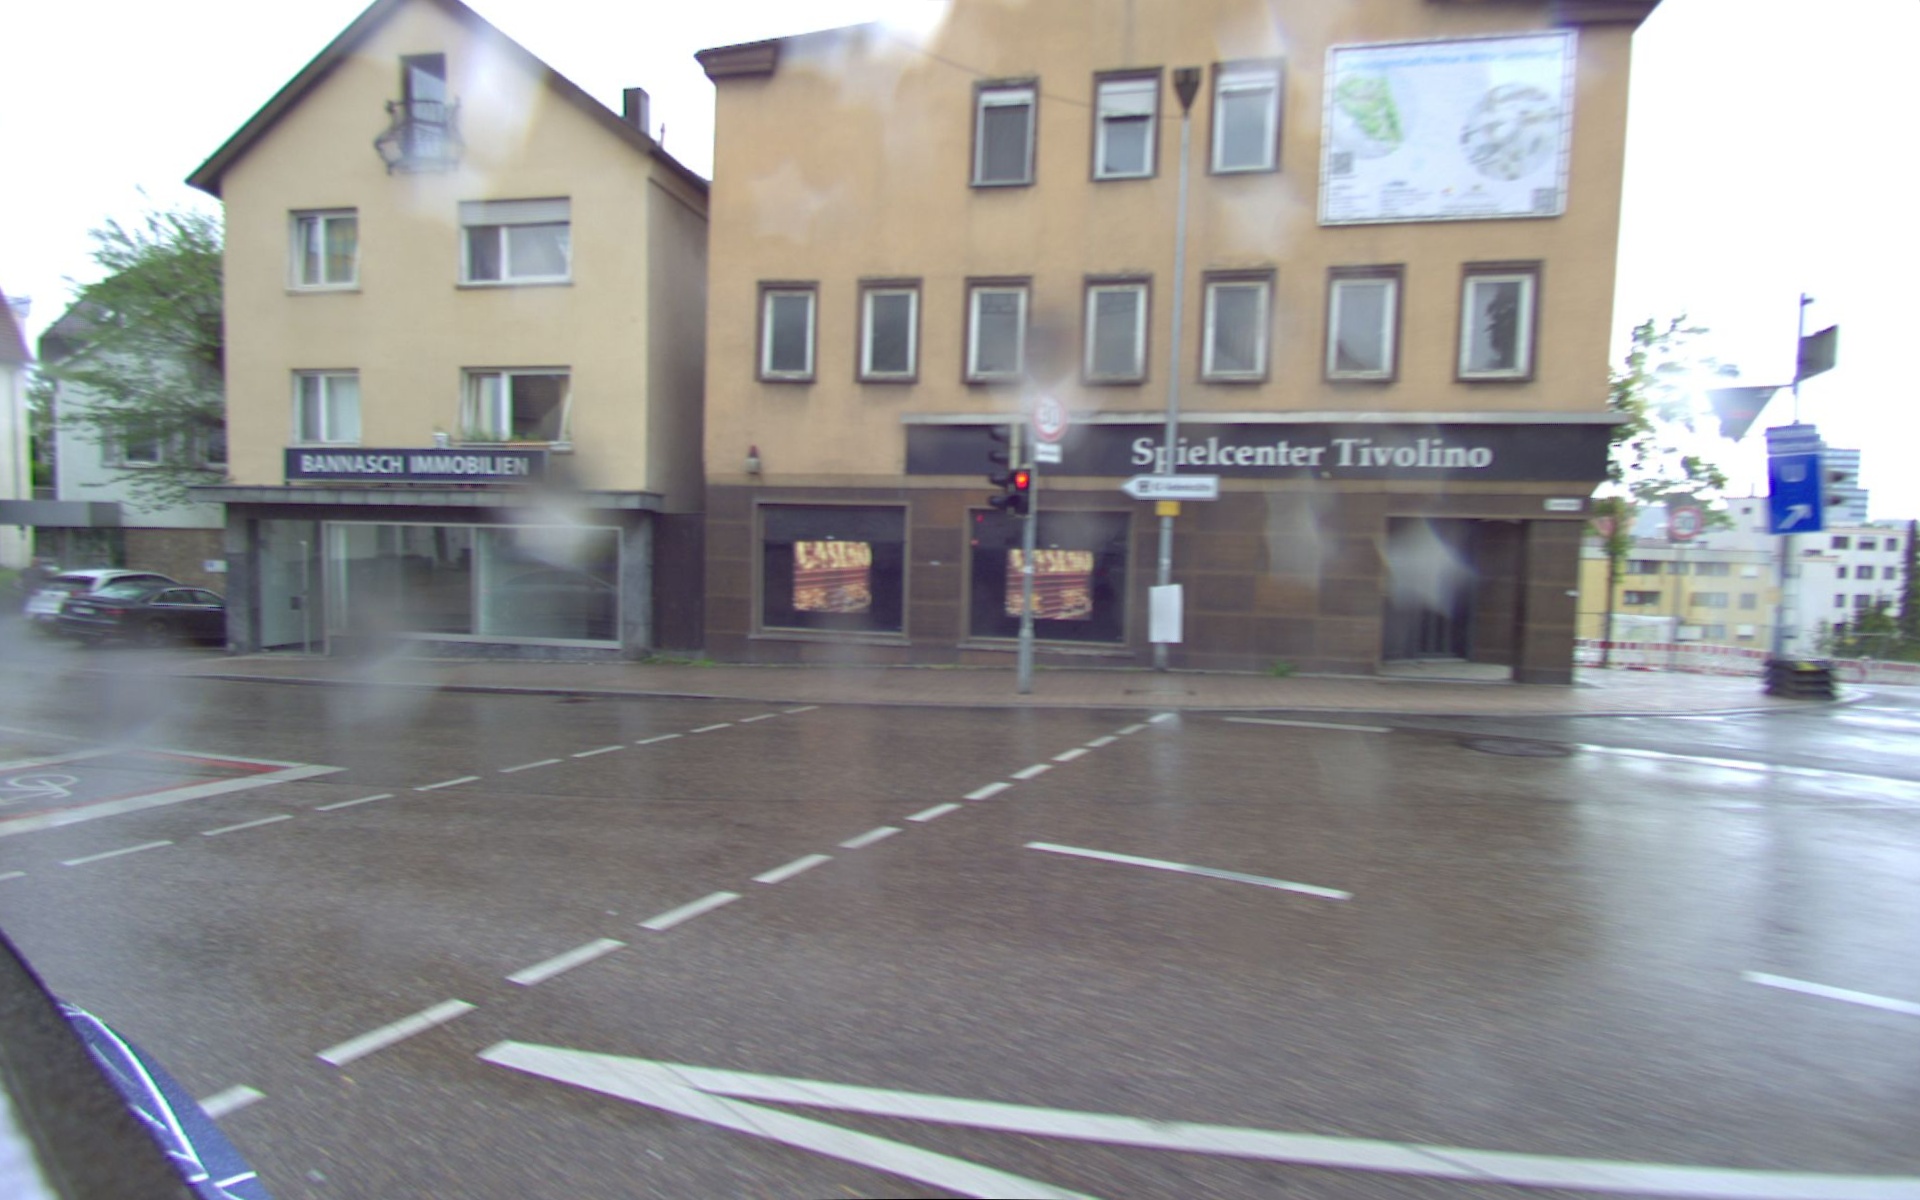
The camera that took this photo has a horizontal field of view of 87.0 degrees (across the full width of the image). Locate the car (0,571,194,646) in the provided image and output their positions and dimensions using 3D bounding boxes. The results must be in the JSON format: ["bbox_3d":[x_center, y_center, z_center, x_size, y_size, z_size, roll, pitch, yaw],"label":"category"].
[{"bbox_3d":[-21.276,0.148,24.972,1.973,1.641,3.644,1,2,1],"label":"car"}]

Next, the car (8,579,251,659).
[{"bbox_3d":[-18.499,0.347,22.810,1.878,1.464,3.989,1,3,9],"label":"car"}]
